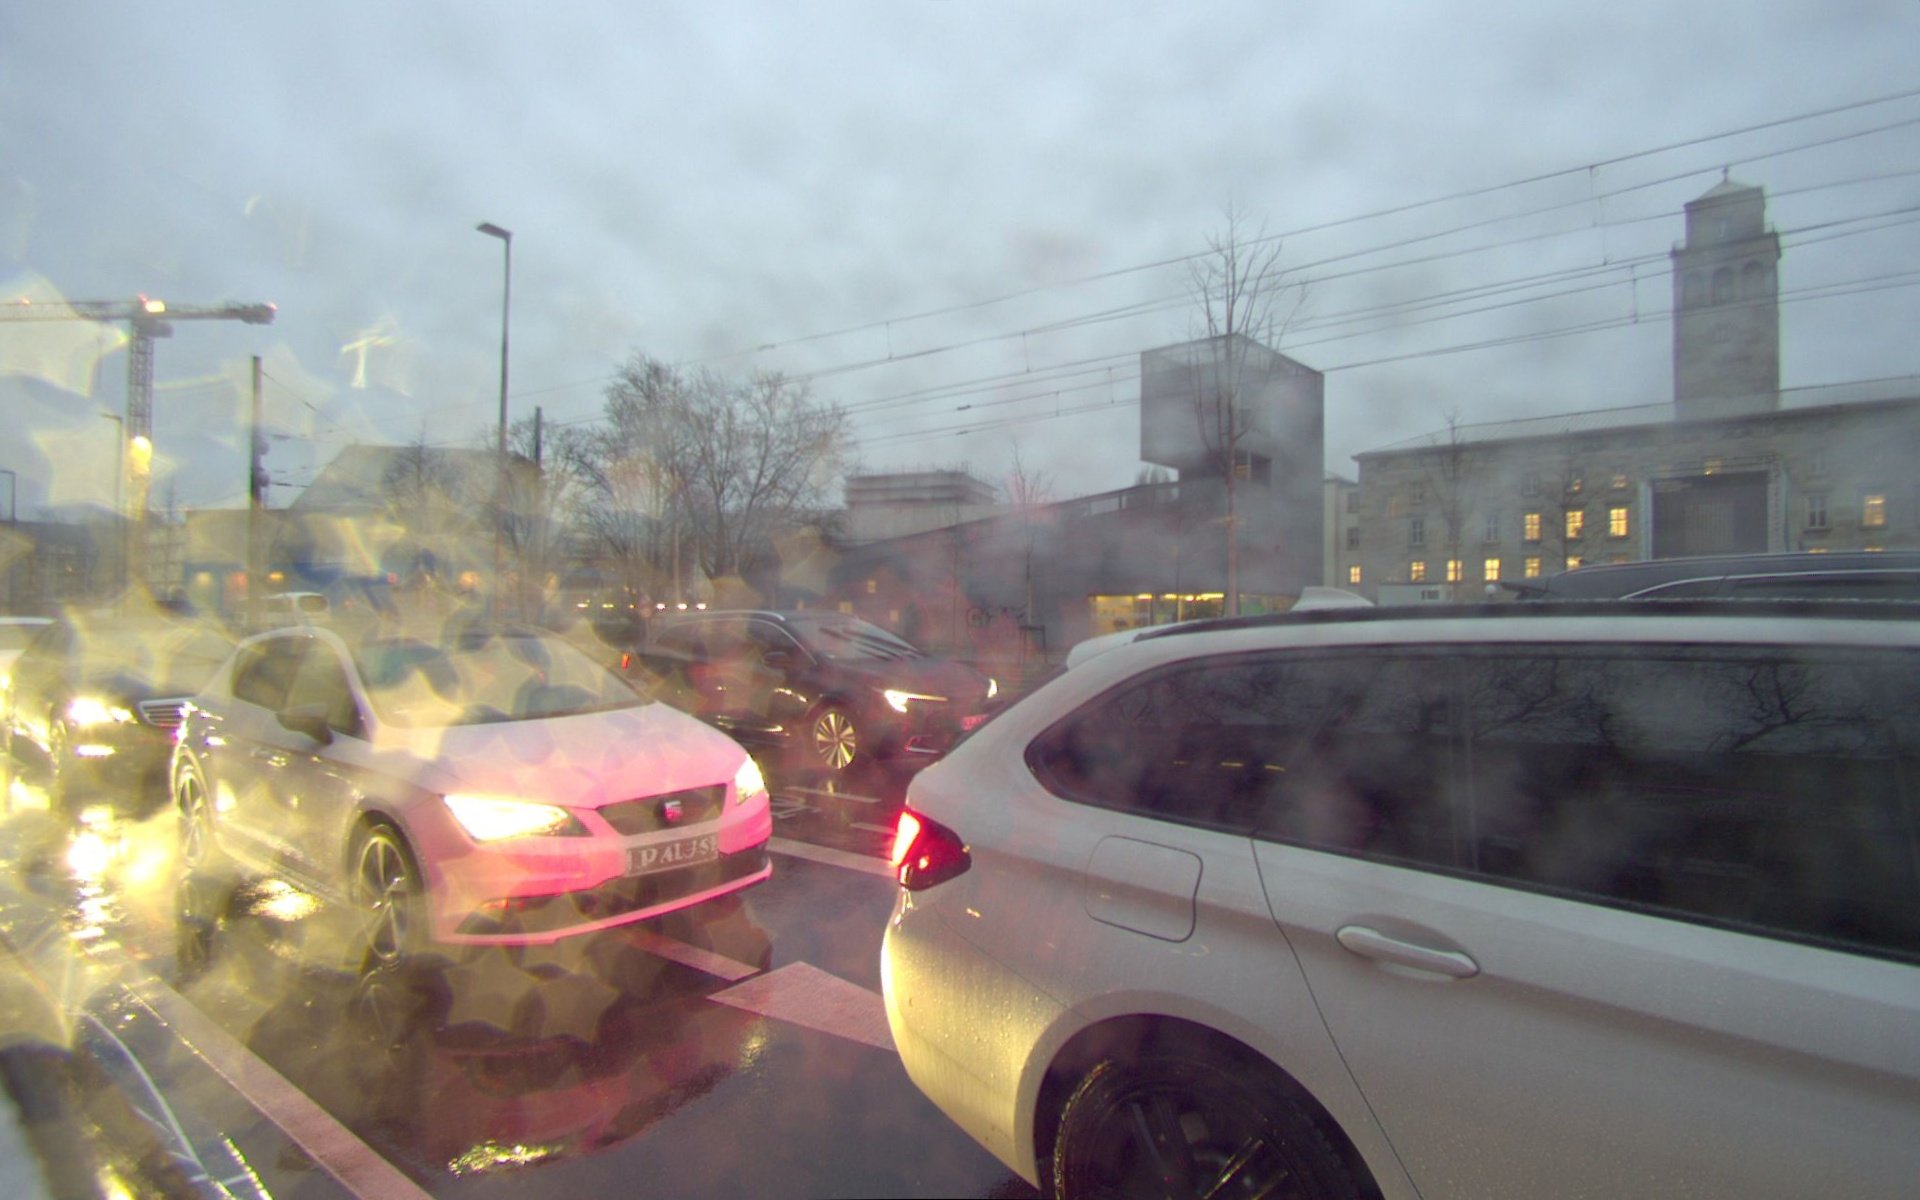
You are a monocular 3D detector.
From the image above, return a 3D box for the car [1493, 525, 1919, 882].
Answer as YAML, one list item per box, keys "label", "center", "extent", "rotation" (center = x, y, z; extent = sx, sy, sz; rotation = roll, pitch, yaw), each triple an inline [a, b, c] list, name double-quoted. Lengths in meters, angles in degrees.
- label: "car"
  center: [5.236, 0.470, 4.988]
  extent: [4.289, 1.596, 1.946]
  rotation: [-1, -1, 42]

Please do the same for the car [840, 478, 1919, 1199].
- label: "car"
  center: [2.092, 0.622, 1.636]
  extent: [4.557, 1.498, 1.996]
  rotation: [-1, -2, 41]

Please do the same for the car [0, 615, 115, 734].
- label: "car"
  center: [-14.274, 1.033, 15.164]
  extent: [3.998, 1.586, 1.882]
  rotation: [-1, 0, 41]

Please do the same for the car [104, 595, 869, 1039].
- label: "car"
  center: [-2.824, 0.767, 5.570]
  extent: [4.497, 1.498, 1.926]
  rotation: [-1, 0, 37]

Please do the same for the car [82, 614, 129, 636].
- label: "car"
  center: [-75.615, 2.239, 89.541]
  extent: [3.989, 1.910, 2.072]
  rotation: [-1, -2, 34]

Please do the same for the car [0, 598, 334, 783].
- label: "car"
  center: [-8.400, 0.784, 10.418]
  extent: [4.501, 1.498, 1.974]
  rotation: [-1, -2, 39]

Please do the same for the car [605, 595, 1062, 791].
- label: "car"
  center: [-1.429, 0.747, 10.065]
  extent: [4.659, 1.519, 1.830]
  rotation: [0, -1, 39]
